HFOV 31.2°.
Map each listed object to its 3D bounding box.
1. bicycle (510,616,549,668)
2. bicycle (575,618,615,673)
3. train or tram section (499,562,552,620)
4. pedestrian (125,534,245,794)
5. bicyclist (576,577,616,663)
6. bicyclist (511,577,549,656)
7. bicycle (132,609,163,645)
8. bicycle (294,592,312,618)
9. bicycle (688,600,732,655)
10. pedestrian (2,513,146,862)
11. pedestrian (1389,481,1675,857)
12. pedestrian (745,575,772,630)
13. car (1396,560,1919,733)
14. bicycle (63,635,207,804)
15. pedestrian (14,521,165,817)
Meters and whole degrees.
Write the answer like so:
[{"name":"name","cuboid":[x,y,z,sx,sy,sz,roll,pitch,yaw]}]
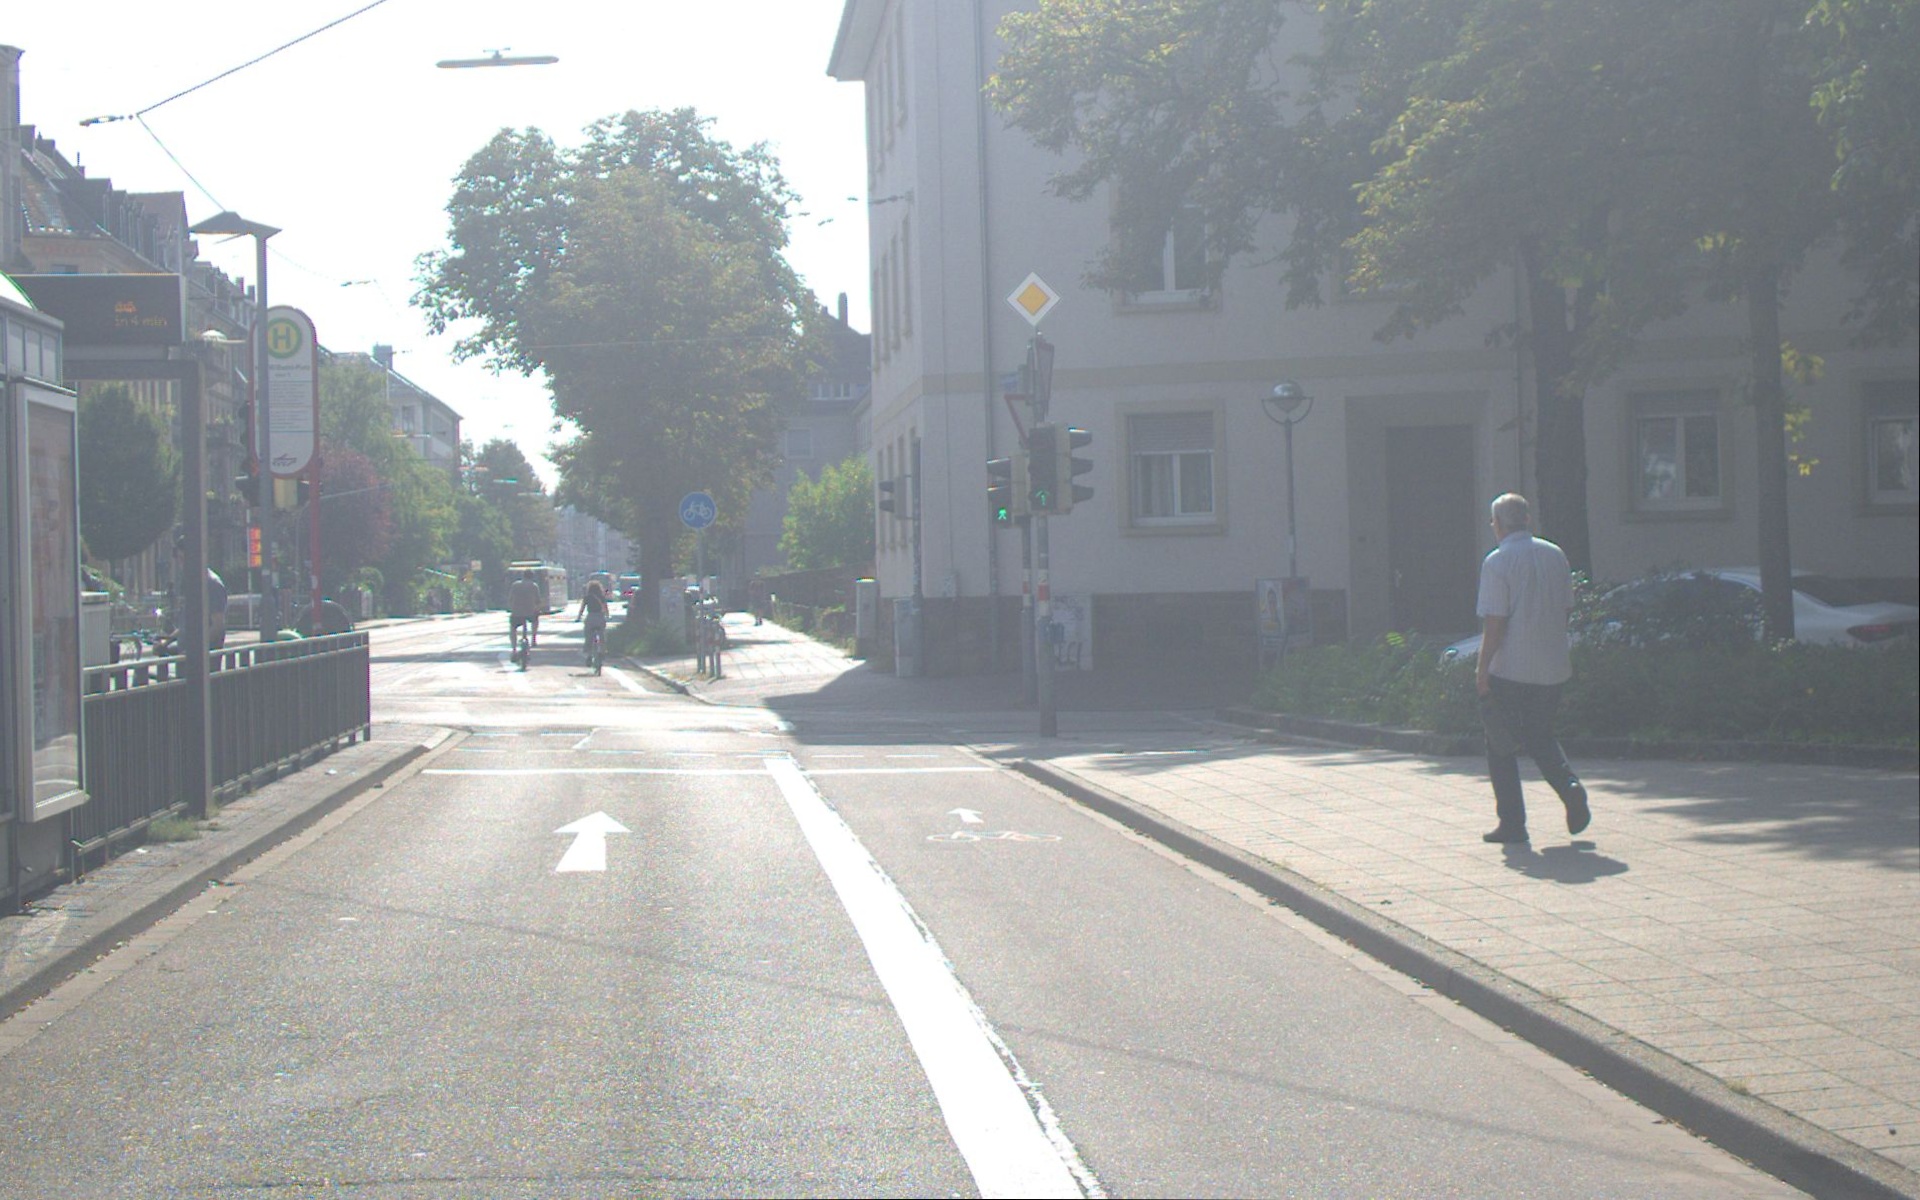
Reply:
[{"name":"bicycle","cuboid":[-7.659,0.751,61.201,0.626,0.906,1.525,1,0,-5]},{"name":"bicycle","cuboid":[-6.252,0.772,58.921,0.654,0.906,1.775,1,0,-5]},{"name":"train or tram section","cuboid":[-27.398,-0.553,217.044,2.734,3.494,15.435,-1,0,-5]},{"name":"pedestrian","cuboid":[-5.381,0.434,23.901,0.689,1.760,0.796,-1,0,-6]},{"name":"bicyclist","cuboid":[-6.238,0.341,58.909,0.654,1.469,0.909,1,0,-5]},{"name":"bicyclist","cuboid":[-7.653,0.293,61.213,0.626,1.396,0.929,1,0,-5]},{"name":"bicycle","cuboid":[-24.715,0.814,104.631,0.545,1.054,1.840,3,0,-3]},{"name":"bicycle","cuboid":[-28.013,0.215,146.648,0.508,1.104,2.003,-1,0,-4]},{"name":"bicycle","cuboid":[-5.200,0.555,71.327,0.771,1.100,2.334,-1,0,-7]},{"name":"pedestrian","cuboid":[-4.685,0.453,18.217,0.603,1.800,0.730,-1,0,-6]},{"name":"pedestrian","cuboid":[2.792,0.326,16.903,1.076,1.719,0.969,-4,1,-3]},{"name":"pedestrian","cuboid":[-6.468,0.077,110.171,0.752,1.743,0.878,-1,0,2]},{"name":"car","cuboid":[6.835,0.450,32.833,4.948,1.464,1.873,-1,3,36]},{"name":"bicycle","cuboid":[-5.754,0.817,24.056,0.472,1.100,1.737,-1,0,4]},{"name":"pedestrian","cuboid":[-5.282,0.407,20.882,0.767,1.754,0.680,-1,0,-6]}]
